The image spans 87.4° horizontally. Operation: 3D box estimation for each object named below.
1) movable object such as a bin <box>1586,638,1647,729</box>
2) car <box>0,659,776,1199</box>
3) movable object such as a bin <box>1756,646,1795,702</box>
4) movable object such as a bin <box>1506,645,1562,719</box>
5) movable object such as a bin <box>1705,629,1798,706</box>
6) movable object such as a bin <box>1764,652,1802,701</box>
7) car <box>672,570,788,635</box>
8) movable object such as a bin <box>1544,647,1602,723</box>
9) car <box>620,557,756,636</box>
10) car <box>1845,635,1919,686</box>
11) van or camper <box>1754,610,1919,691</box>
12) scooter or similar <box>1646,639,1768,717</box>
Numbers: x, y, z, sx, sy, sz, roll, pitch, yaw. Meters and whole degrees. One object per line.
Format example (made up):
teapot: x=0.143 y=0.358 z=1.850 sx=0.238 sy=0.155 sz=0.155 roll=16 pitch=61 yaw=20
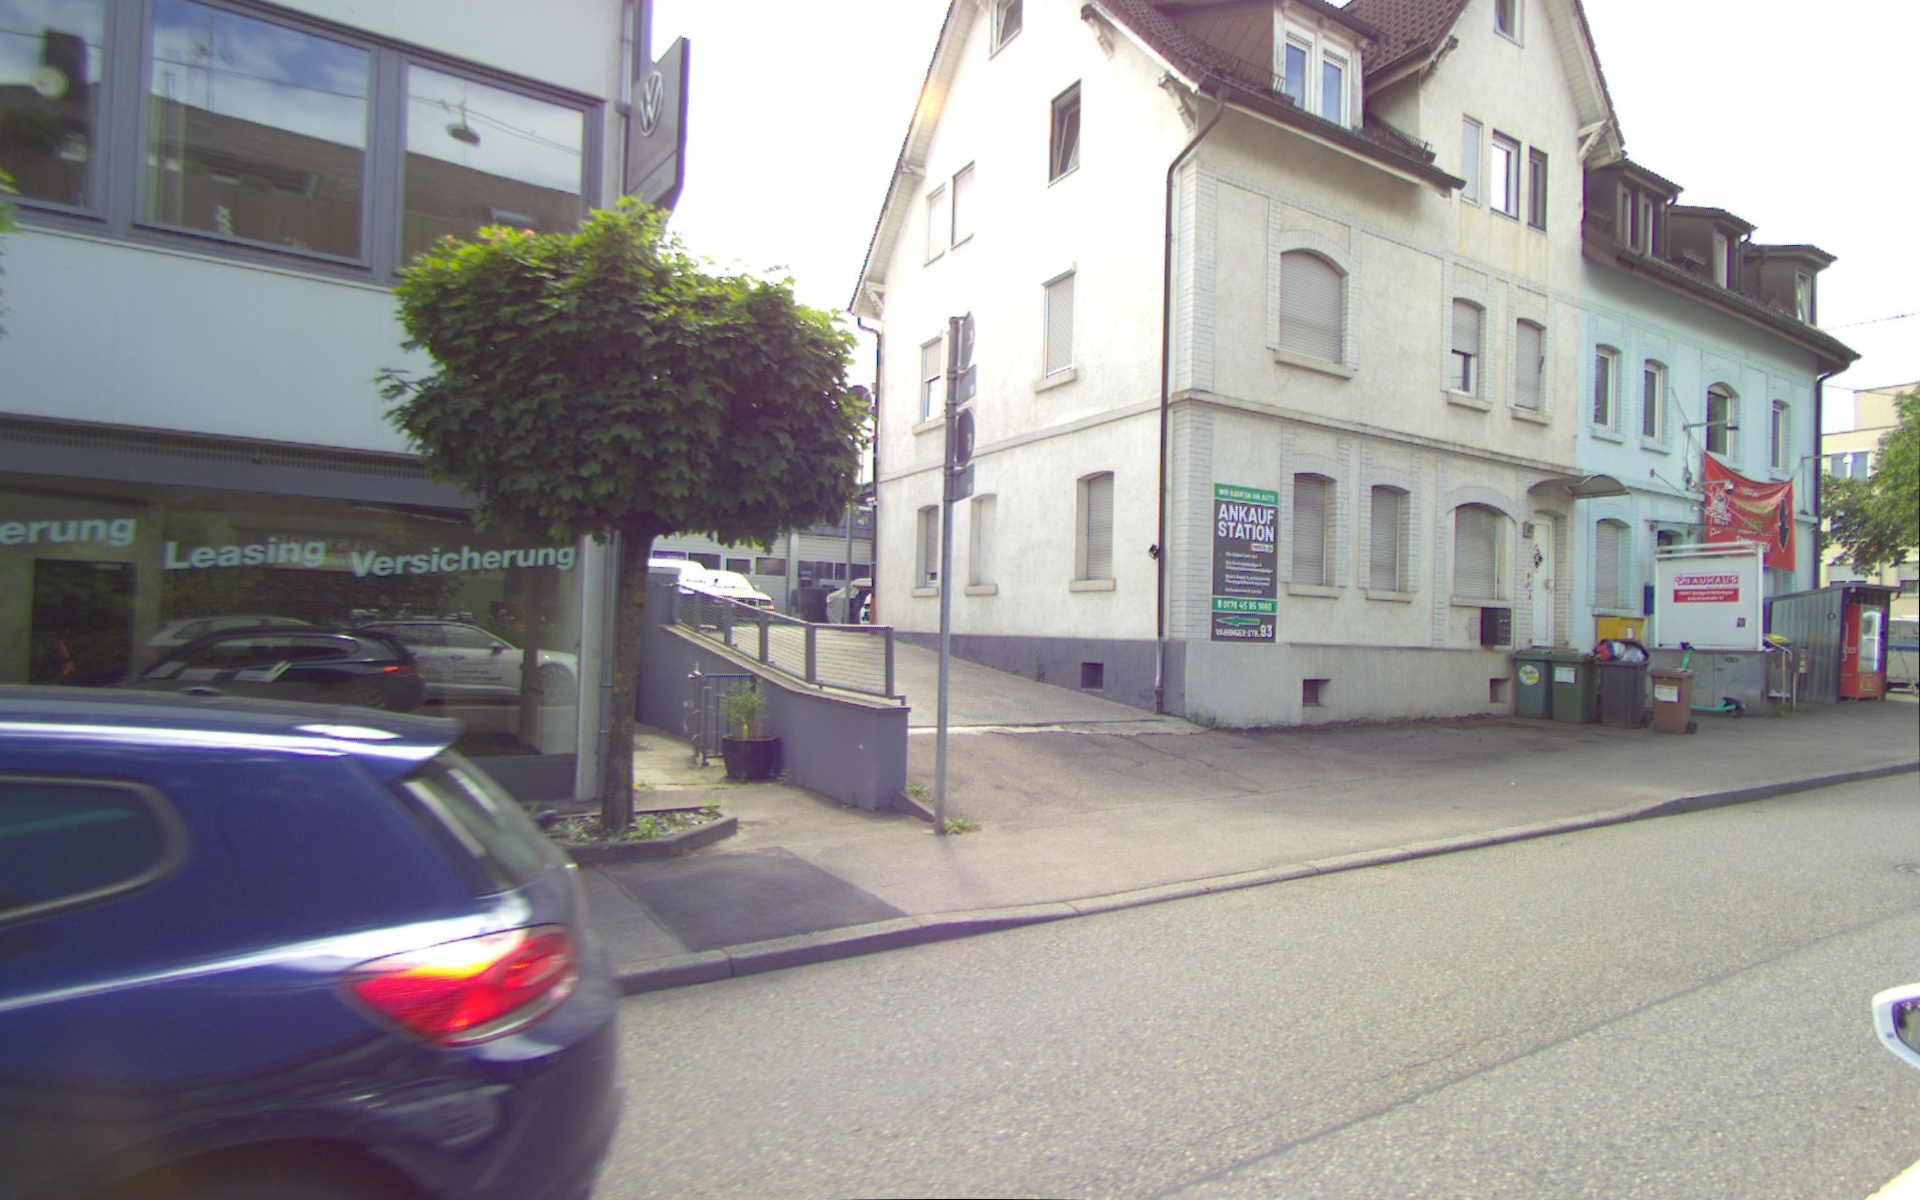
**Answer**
movable object such as a bin: x=9.759 y=1.227 z=14.938 sx=0.557 sy=1.290 sz=0.561 roll=1 pitch=0 yaw=-34
car: x=-2.544 y=0.835 z=1.698 sx=4.062 sy=1.444 sz=1.762 roll=2 pitch=-4 yaw=-31
movable object such as a bin: x=15.863 y=1.439 z=19.532 sx=0.512 sy=1.053 sz=0.430 roll=2 pitch=-1 yaw=-32
movable object such as a bin: x=9.082 y=1.289 z=15.901 sx=0.557 sy=1.115 sz=0.561 roll=2 pitch=0 yaw=-34
movable object such as a bin: x=14.957 y=1.258 z=18.989 sx=1.233 sy=1.373 sz=1.014 roll=2 pitch=-1 yaw=-32
movable object such as a bin: x=16.345 y=1.511 z=19.946 sx=0.512 sy=0.945 sz=0.444 roll=2 pitch=-1 yaw=-32
car: x=-5.720 y=0.039 z=24.715 sx=1.685 sy=1.420 sz=3.720 roll=3 pitch=-1 yaw=-31
movable object such as a bin: x=9.410 y=1.294 z=15.422 sx=0.557 sy=1.115 sz=0.561 roll=2 pitch=0 yaw=-34
car: x=-5.516 y=-0.078 z=20.075 sx=1.684 sy=1.421 sz=3.720 roll=1 pitch=1 yaw=-31
car: x=28.158 y=1.759 z=28.669 sx=1.787 sy=1.432 sz=4.014 roll=2 pitch=-2 yaw=-18
van or camper: x=24.166 y=1.354 z=26.888 sx=4.291 sy=2.020 sz=1.792 roll=1 pitch=-2 yaw=5
scooter or similar: x=12.515 y=1.285 z=16.868 sx=0.539 sy=1.200 sz=1.546 roll=2 pitch=-1 yaw=-29
